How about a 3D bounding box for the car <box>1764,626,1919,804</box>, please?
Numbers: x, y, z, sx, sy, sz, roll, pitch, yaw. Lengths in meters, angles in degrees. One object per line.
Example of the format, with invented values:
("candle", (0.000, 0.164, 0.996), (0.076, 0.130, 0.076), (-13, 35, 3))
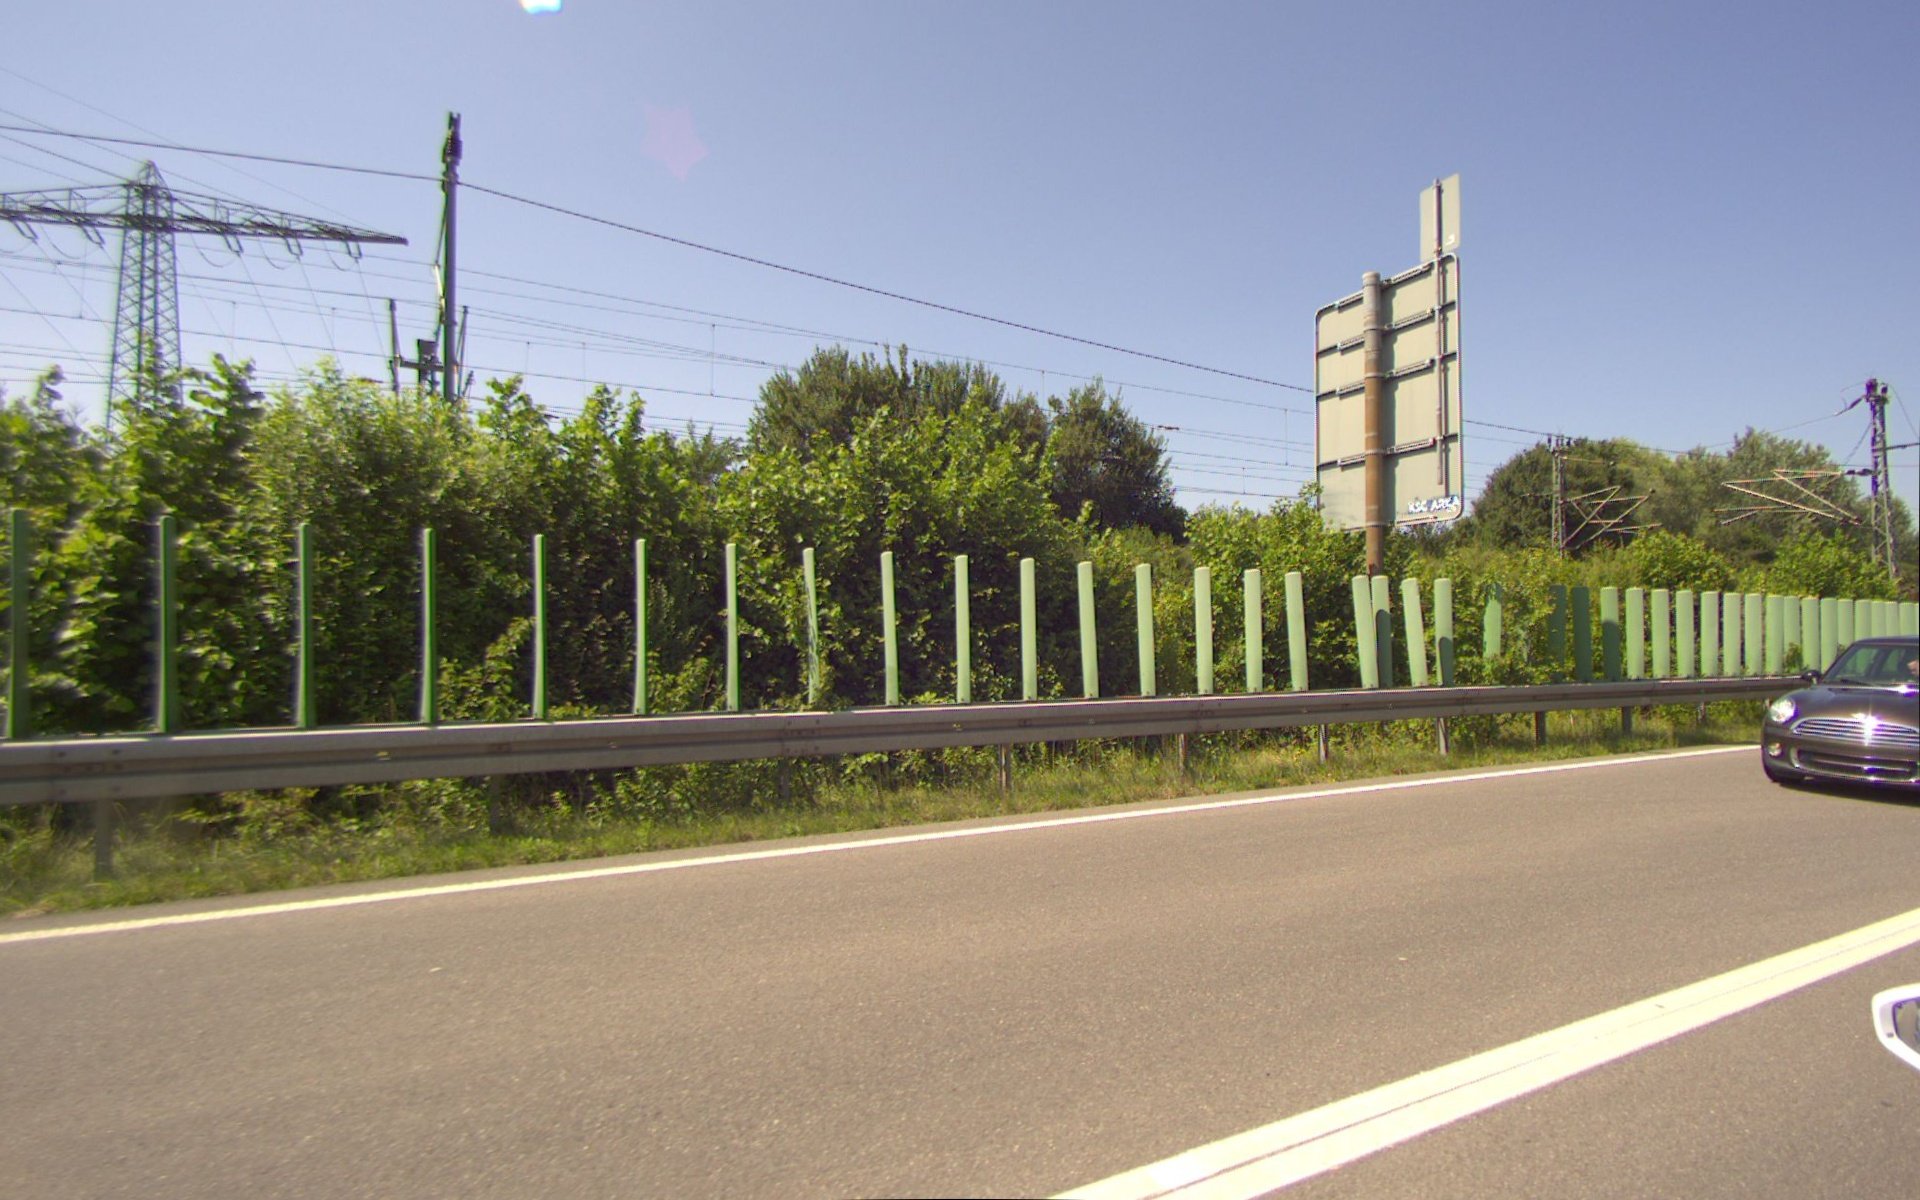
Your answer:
("car", (9.388, 1.000, 9.533), (3.697, 1.454, 1.499), (1, -1, -30))
